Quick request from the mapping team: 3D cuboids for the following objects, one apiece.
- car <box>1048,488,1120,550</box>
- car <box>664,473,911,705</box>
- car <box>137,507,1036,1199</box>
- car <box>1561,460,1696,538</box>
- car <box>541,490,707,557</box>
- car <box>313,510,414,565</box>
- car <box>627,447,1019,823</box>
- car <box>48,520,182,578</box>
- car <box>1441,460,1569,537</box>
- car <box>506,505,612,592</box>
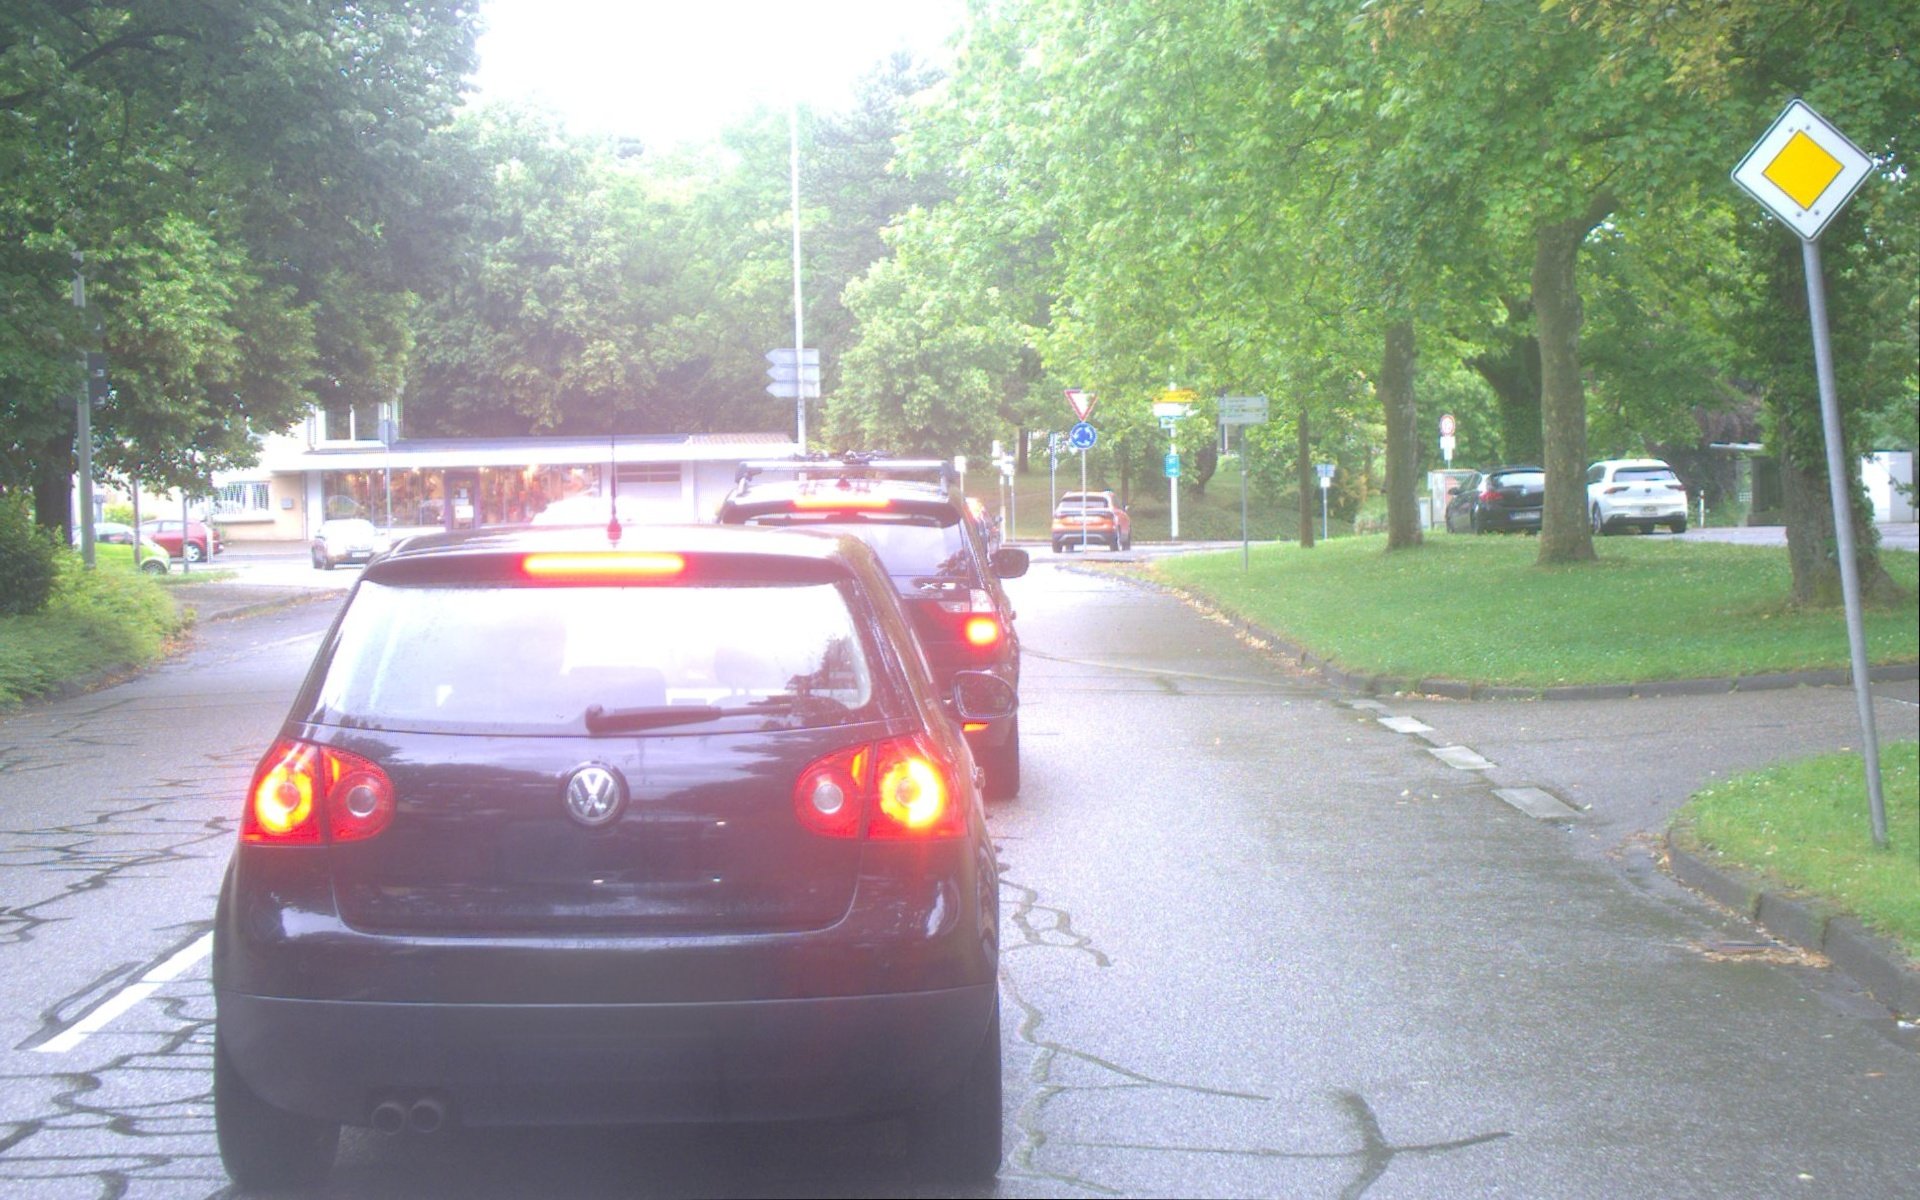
[{"bbox_3d":[3.261,-2.123,89.848,1.706,1.508,3.673,-2,1,4],"label":"car"},{"bbox_3d":[-1.388,-0.125,29.064,1.855,1.778,4.000,-1,1,0],"label":"car"},{"bbox_3d":[-0.753,0.527,8.769,1.798,1.510,3.754,0,2,0],"label":"car"},{"bbox_3d":[13.222,-2.019,68.233,1.803,1.401,4.001,-3,2,0],"label":"car"},{"bbox_3d":[-8.290,-1.900,84.988,3.792,1.612,1.777,0,1,7],"label":"car"},{"bbox_3d":[-16.547,-1.709,95.194,1.797,1.388,3.979,-4,2,-23],"label":"car"},{"bbox_3d":[-0.667,0.111,18.650,1.855,1.778,4.000,-1,2,0],"label":"car"},{"bbox_3d":[-20.929,-1.279,85.262,3.119,1.305,1.540,-3,2,-11],"label":"car"},{"bbox_3d":[10.741,-2.031,68.015,1.803,1.380,4.001,-3,2,0],"label":"car"},{"bbox_3d":[-7.240,-0.953,61.878,1.607,1.422,4.010,-2,3,-10],"label":"car"}]
